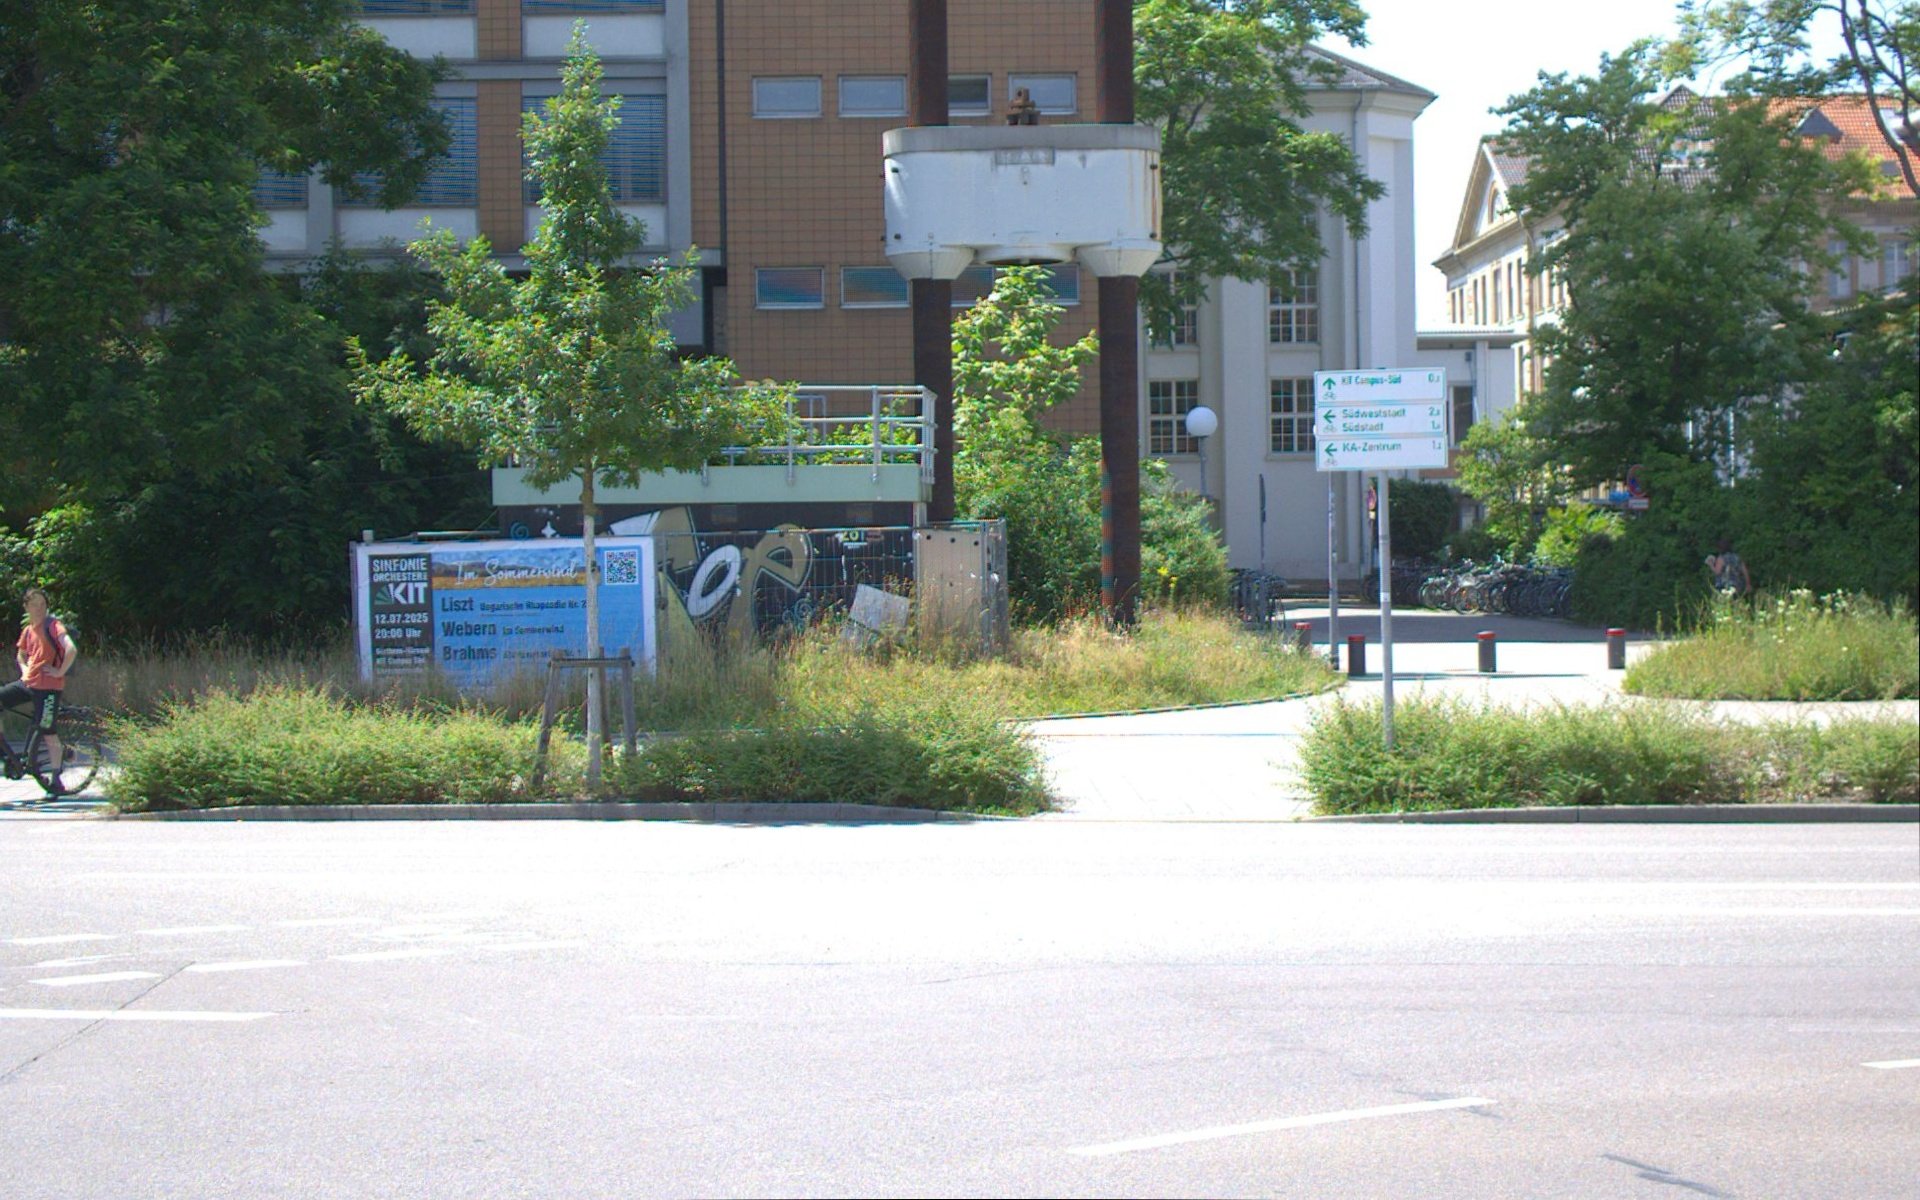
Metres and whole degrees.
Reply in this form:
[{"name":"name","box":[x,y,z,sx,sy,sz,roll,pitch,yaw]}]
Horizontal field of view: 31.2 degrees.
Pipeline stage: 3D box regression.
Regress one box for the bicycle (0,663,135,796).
[{"name":"bicycle","box":[-8.100,1.118,29.529,0.558,1.041,1.992,1,3,42]}]

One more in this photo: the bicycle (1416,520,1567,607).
[{"name":"bicycle","box":[12.682,-0.876,82.050,3.447,2.007,0.760,1,1,2]}]

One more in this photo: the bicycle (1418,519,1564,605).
[{"name":"bicycle","box":[13.005,-0.934,84.254,3.447,2.007,0.760,1,1,2]}]

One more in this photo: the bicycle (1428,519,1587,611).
[{"name":"bicycle","box":[12.413,-0.790,78.035,3.447,2.007,0.760,1,1,2]}]

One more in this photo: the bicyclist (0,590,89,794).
[{"name":"bicyclist","box":[-7.973,0.781,29.645,0.551,1.710,0.701,2,2,41]}]

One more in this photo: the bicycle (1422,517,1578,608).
[{"name":"bicycle","box":[12.416,-0.865,79.091,3.447,2.007,0.760,1,1,2]}]

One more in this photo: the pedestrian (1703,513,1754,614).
[{"name":"pedestrian","box":[12.764,-0.602,57.122,0.639,1.660,0.707,1,1,-1]}]

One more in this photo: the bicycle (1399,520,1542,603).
[{"name":"bicycle","box":[12.837,-0.970,86.475,3.447,2.007,0.760,1,1,2]}]

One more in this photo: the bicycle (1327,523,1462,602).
[{"name":"bicycle","box":[11.439,-0.997,90.556,3.447,2.007,0.760,1,1,2]}]

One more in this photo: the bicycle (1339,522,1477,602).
[{"name":"bicycle","box":[11.624,-0.994,89.334,3.447,2.007,0.760,1,1,2]}]

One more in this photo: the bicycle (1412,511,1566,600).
[{"name":"bicycle","box":[12.384,-1.043,80.492,3.447,2.007,0.760,1,1,2]}]

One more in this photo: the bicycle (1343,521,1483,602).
[{"name":"bicycle","box":[11.617,-0.986,88.211,3.447,2.007,0.760,1,1,2]}]
